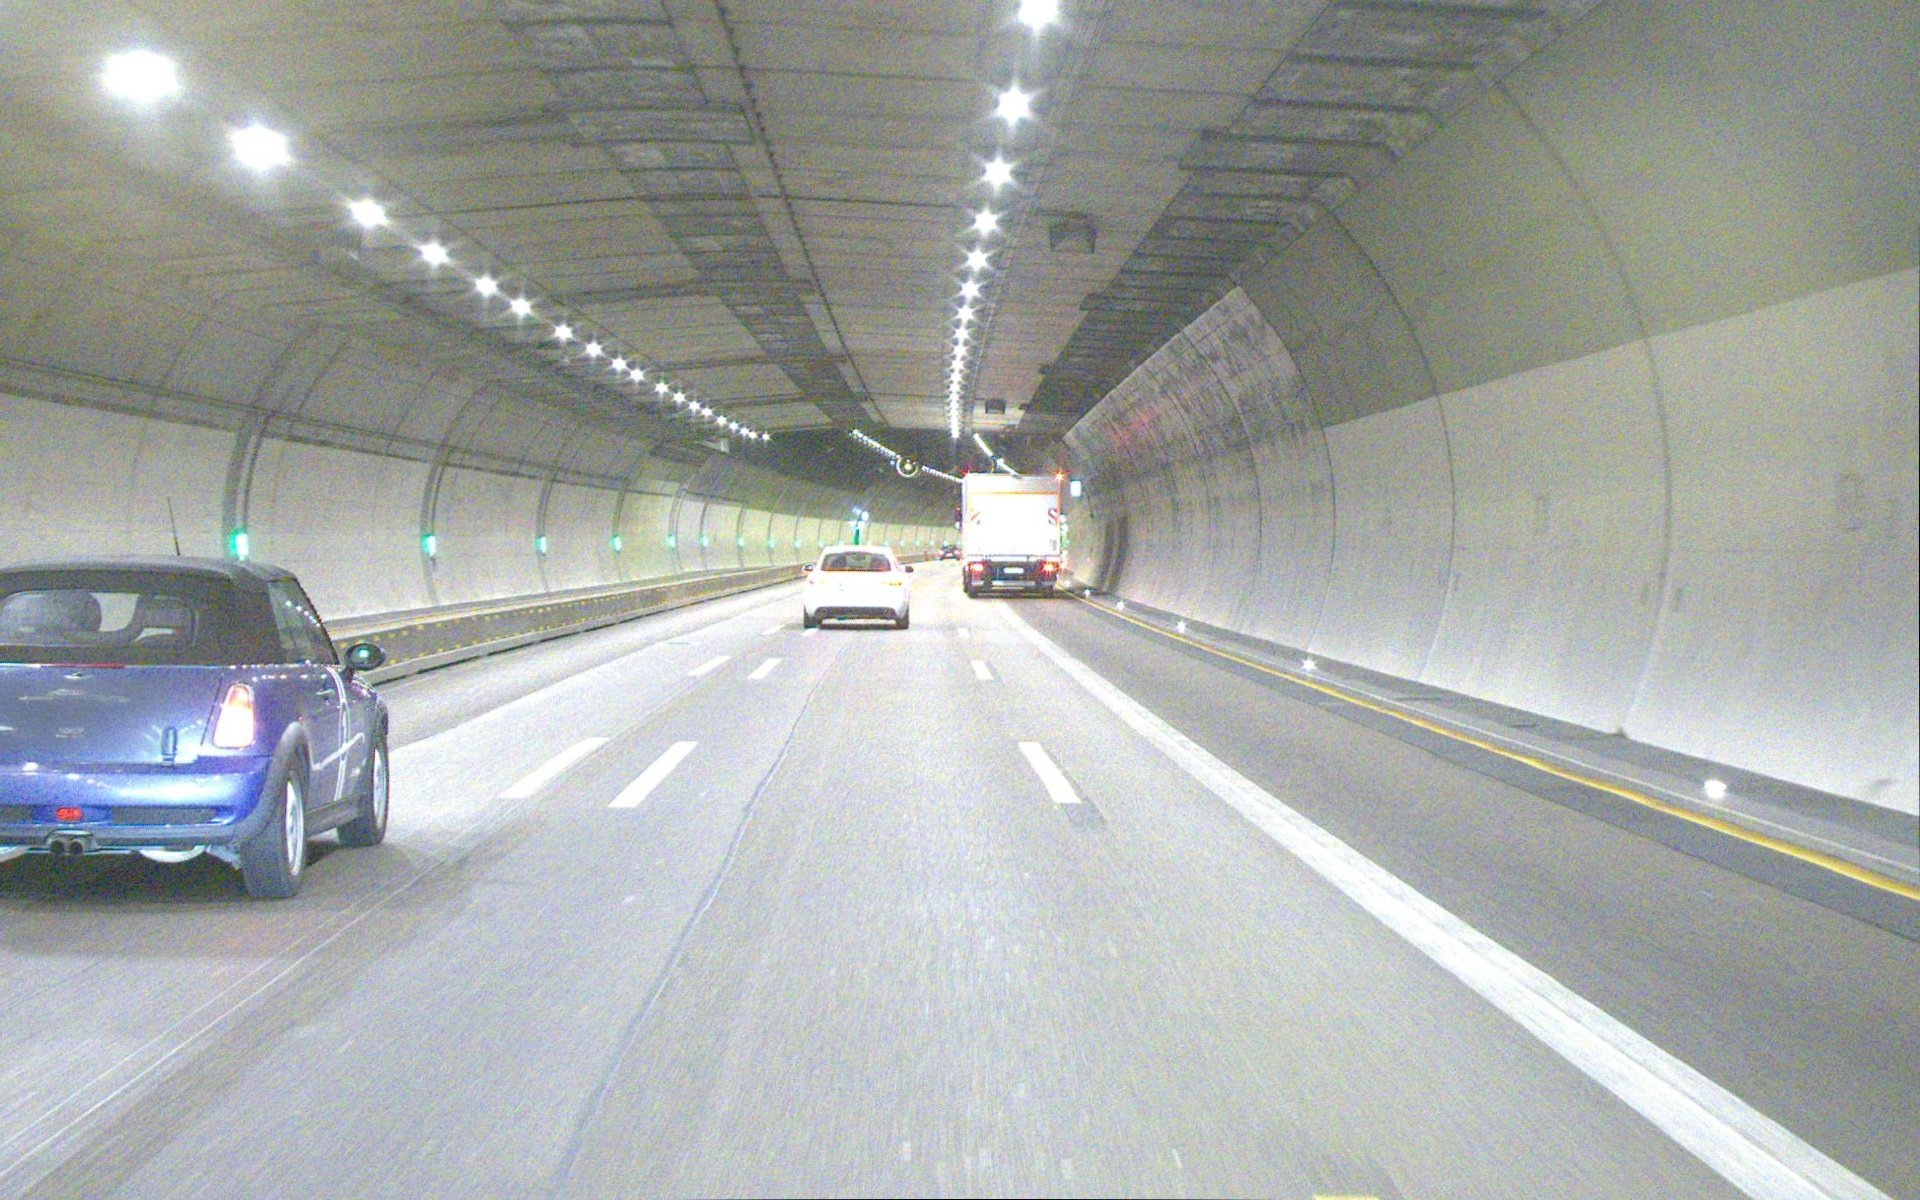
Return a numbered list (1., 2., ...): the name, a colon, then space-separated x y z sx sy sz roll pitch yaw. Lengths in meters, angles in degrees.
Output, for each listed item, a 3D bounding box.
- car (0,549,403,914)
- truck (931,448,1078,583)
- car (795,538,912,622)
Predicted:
1. car: -3.621 0.495 15.590 1.689 1.412 3.923 0 1 -2
2. truck: 1.164 -2.409 98.198 3.592 3.638 10.724 0 1 -2
3. car: -1.926 -0.393 61.305 1.993 1.408 4.743 0 1 -2
